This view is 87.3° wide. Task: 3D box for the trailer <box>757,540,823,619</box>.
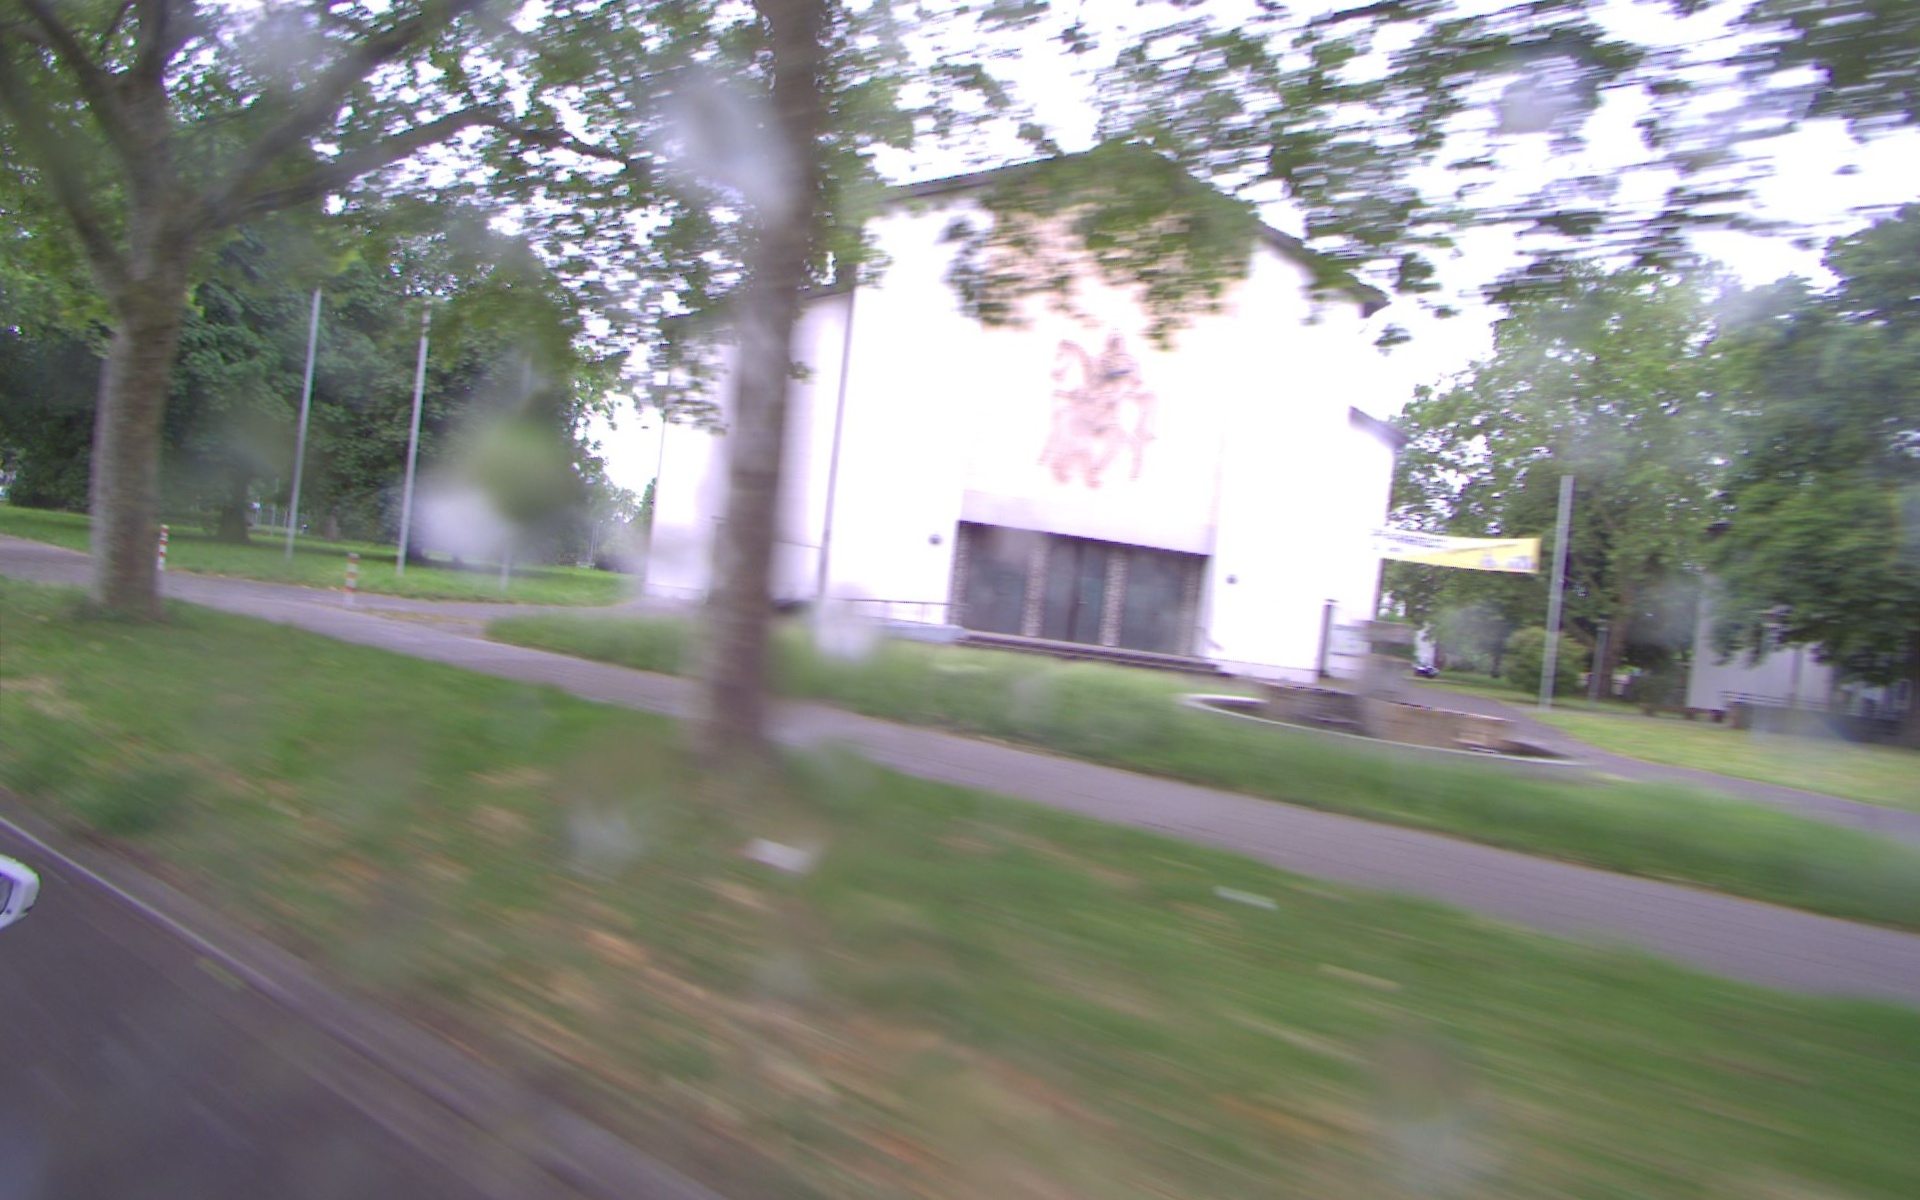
[{"bbox_3d":[-5.716,-0.684,34.229,1.859,2.338,4.014,6,1,-8],"label":"trailer"}]
